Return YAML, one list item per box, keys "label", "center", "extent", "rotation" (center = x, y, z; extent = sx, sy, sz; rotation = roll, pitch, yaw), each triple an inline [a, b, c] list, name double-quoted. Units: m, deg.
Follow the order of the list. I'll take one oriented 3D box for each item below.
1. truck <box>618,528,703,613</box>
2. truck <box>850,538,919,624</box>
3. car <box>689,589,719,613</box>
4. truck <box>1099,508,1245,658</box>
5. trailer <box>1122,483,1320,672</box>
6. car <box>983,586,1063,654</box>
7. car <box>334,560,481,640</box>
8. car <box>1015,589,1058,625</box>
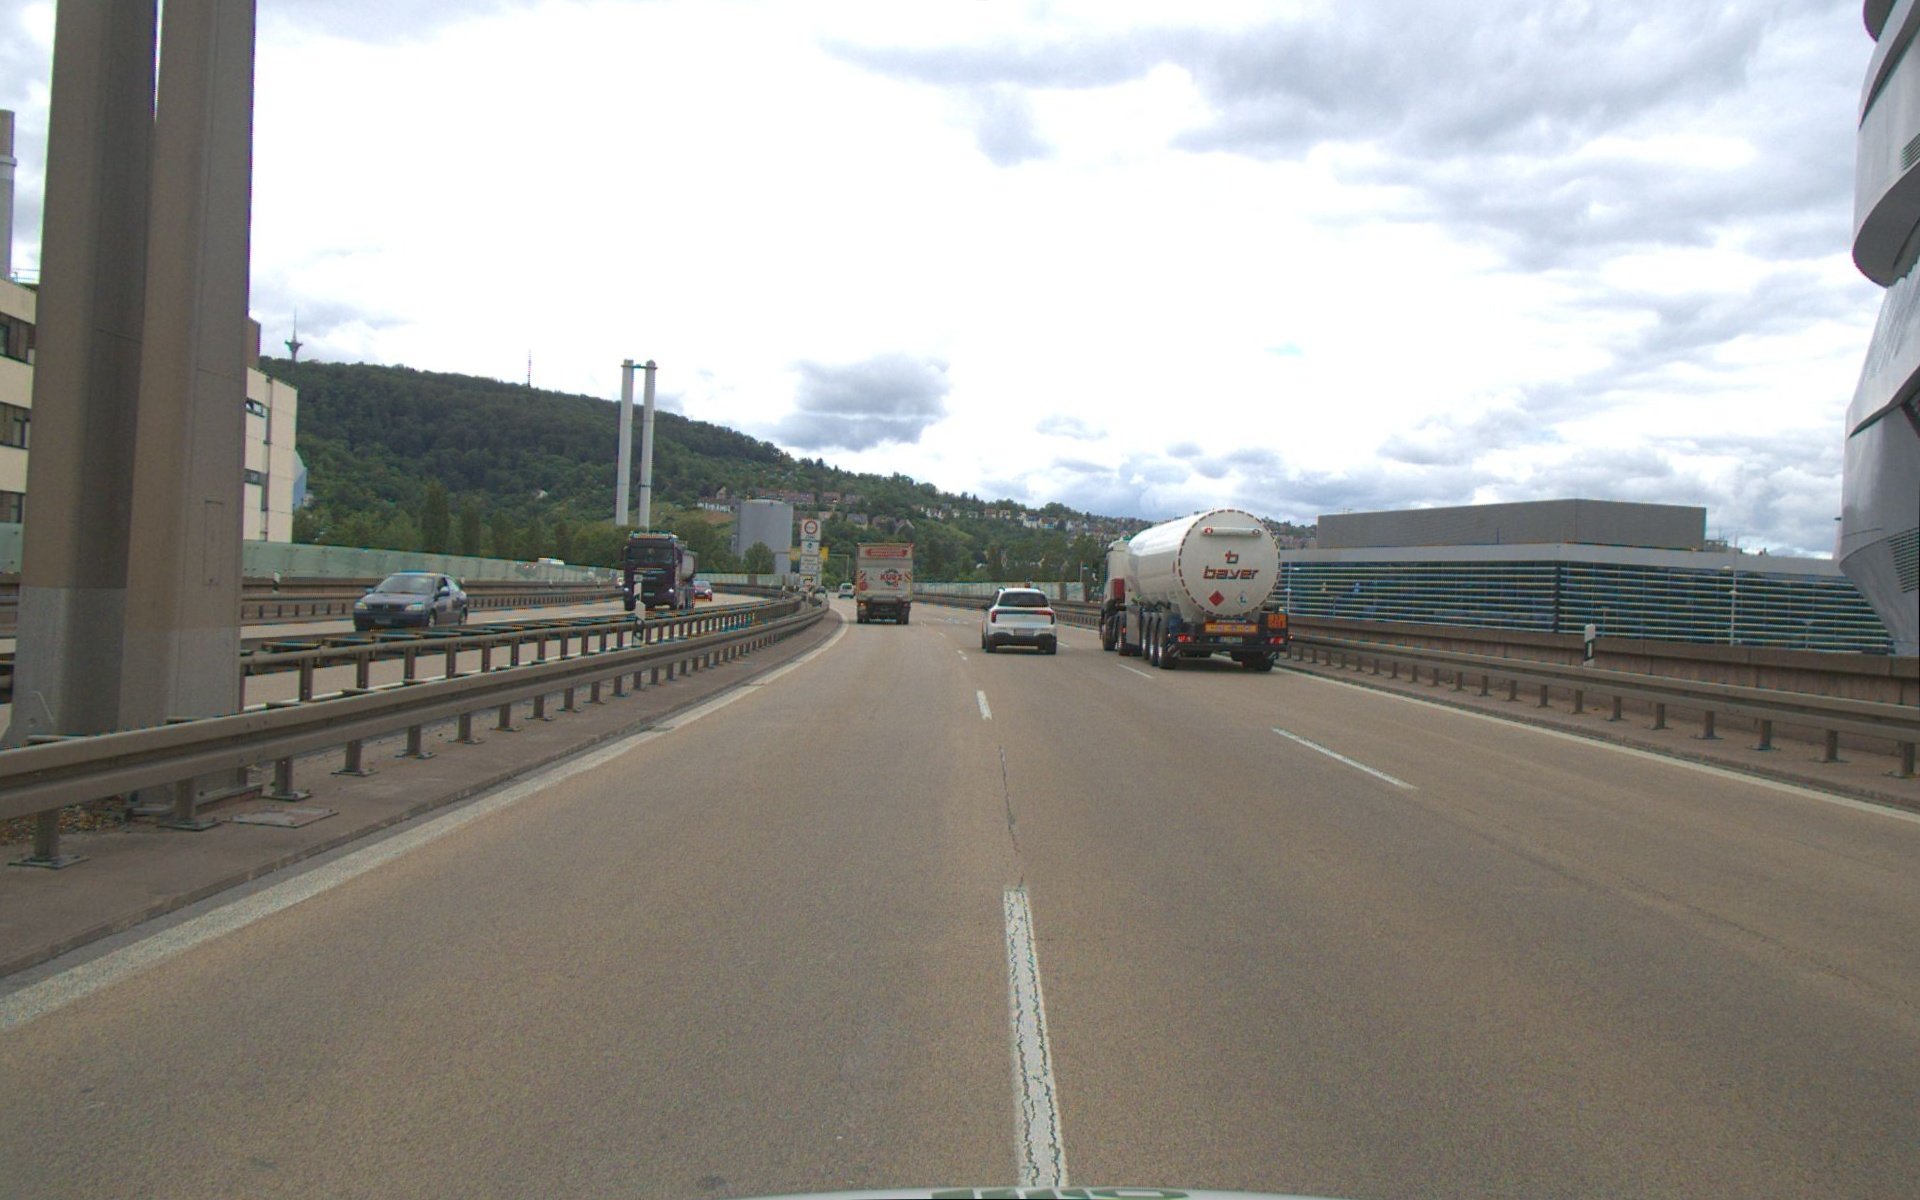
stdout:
- label: "truck"
  center: [-14.790, -1.343, 82.457]
  extent: [2.755, 3.876, 12.009]
  rotation: [1, 0, -4]
- label: "truck"
  center: [-3.449, -0.824, 77.346]
  extent: [2.995, 3.755, 8.300]
  rotation: [1, 0, -2]
- label: "car"
  center: [-18.743, 0.095, 121.385]
  extent: [1.955, 1.704, 4.401]
  rotation: [1, 0, -7]
- label: "truck"
  center: [5.618, -0.409, 44.896]
  extent: [2.953, 3.721, 6.271]
  rotation: [1, 0, -2]
- label: "trailer"
  center: [5.814, -0.448, 38.382]
  extent: [2.995, 3.856, 8.301]
  rotation: [1, 0, -2]
- label: "car"
  center: [1.638, 0.520, 44.361]
  extent: [1.953, 1.704, 4.408]
  rotation: [1, 0, 0]
- label: "car"
  center: [-12.670, 0.008, 38.218]
  extent: [1.953, 1.704, 4.407]
  rotation: [1, 0, -1]
- label: "car"
  center: [3.719, 0.342, 80.578]
  extent: [1.952, 1.704, 4.408]
  rotation: [1, 0, 1]
